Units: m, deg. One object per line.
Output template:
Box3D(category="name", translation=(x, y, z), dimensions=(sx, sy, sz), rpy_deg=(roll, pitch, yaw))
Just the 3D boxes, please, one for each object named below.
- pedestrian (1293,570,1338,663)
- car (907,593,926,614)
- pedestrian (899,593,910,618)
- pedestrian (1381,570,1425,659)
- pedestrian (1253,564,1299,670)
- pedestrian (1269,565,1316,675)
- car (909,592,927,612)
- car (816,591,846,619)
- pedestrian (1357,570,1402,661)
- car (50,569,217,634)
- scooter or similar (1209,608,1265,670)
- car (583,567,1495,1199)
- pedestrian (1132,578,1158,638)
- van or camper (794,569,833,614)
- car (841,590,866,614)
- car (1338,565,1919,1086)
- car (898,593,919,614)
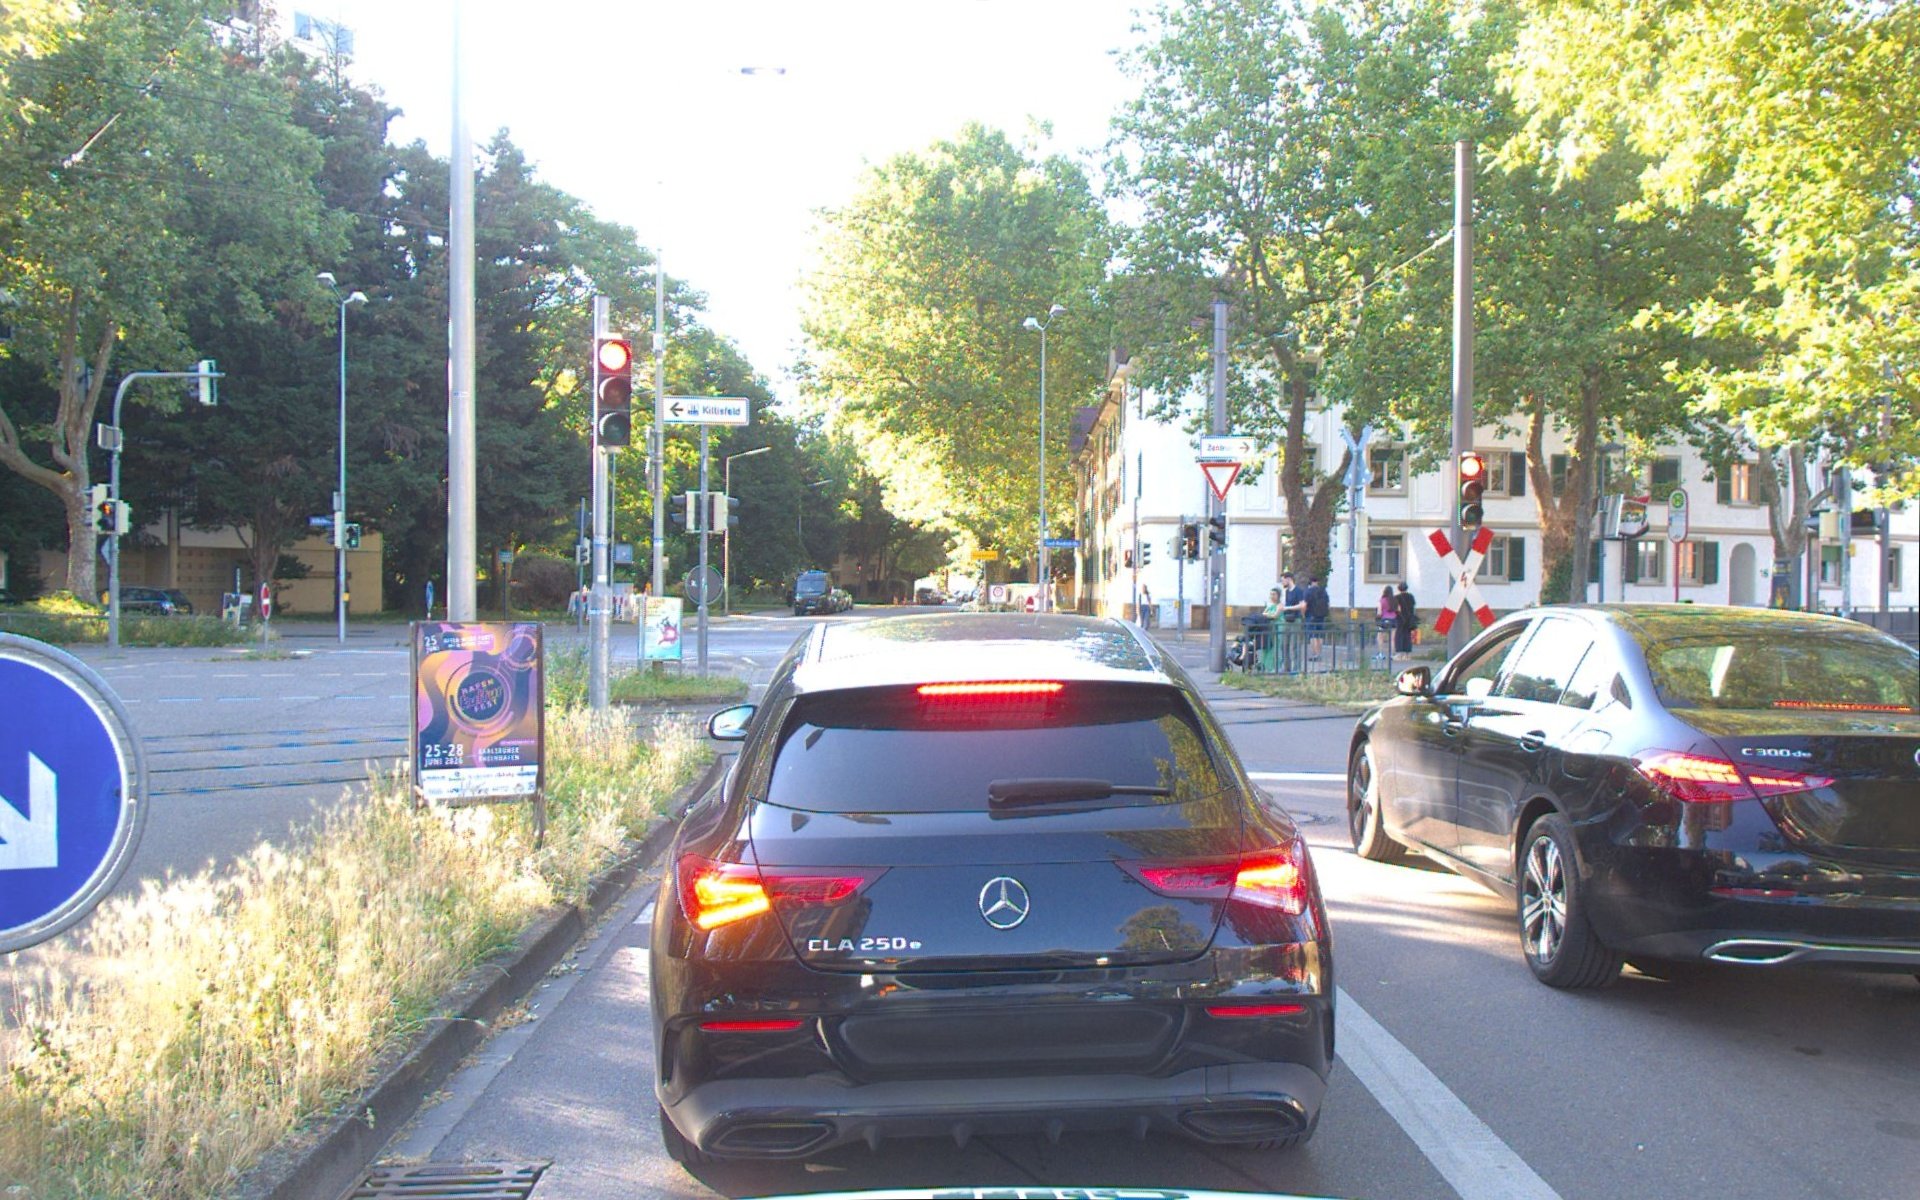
Box3D(category="pedestrian", translation=(7.564, 0.346, 35.223), dimensions=(0.691, 1.951, 0.838), rpy_deg=(1, -1, -4))
Box3D(category="car", translation=(-3.947, 0.317, 150.317), dimensions=(1.698, 1.796, 4.018), rpy_deg=(1, 0, -1))
Box3D(category="pedestrian", translation=(-4.358, 0.455, 129.952), dimensions=(0.692, 1.951, 0.837), rpy_deg=(1, -1, -11))
Box3D(category="pedestrian", translation=(9.860, 0.319, 36.813), dimensions=(0.691, 1.951, 0.838), rpy_deg=(1, -1, -4))
Box3D(category="pedestrian", translation=(5.914, 0.309, 30.974), dimensions=(0.669, 1.951, 0.706), rpy_deg=(1, -1, -5))
Box3D(category="pedestrian", translation=(6.042, 0.361, 30.074), dimensions=(0.669, 1.951, 0.707), rpy_deg=(1, -1, -3))
Box3D(category="car", translation=(-3.995, 0.206, 158.400), dimensions=(1.698, 1.796, 4.018), rpy_deg=(1, 0, -1))
Box3D(category="car", translation=(-8.527, 0.321, 109.623), dimensions=(1.698, 1.796, 4.340), rpy_deg=(1, 0, -1))
Box3D(category="pedestrian", translation=(9.070, 0.332, 35.801), dimensions=(0.691, 1.951, 0.838), rpy_deg=(1, -1, -4))
Box3D(category="car", translation=(-24.375, 0.044, 48.849), dimensions=(3.902, 1.805, 2.001), rpy_deg=(1, 0, 7))
Box3D(category="scooter or similar", translation=(5.114, 0.718, 30.544), dimensions=(0.812, 1.124, 0.808), rpy_deg=(1, 0, -6))
Box3D(category="car", translation=(0.176, 0.687, 5.403), dimensions=(1.851, 1.475, 4.001), rpy_deg=(1, 2, 0))
Box3D(category="pedestrian", translation=(6.066, 0.253, 54.320), dimensions=(0.691, 1.951, 0.838), rpy_deg=(1, -1, -4))
Box3D(category="van or camper", translation=(-8.787, -0.485, 99.610), dimensions=(1.953, 2.586, 4.650), rpy_deg=(1, 0, -1))
Box3D(category="car", translation=(-8.127, 0.145, 126.276), dimensions=(1.698, 1.796, 3.970), rpy_deg=(1, 0, -1))
Box3D(category="car", translation=(3.142, 0.665, 7.289), dimensions=(1.851, 1.516, 4.381), rpy_deg=(1, 2, -1))
Box3D(category="car", translation=(-4.521, 0.349, 145.487), dimensions=(1.698, 1.796, 4.018), rpy_deg=(1, 0, -1))
